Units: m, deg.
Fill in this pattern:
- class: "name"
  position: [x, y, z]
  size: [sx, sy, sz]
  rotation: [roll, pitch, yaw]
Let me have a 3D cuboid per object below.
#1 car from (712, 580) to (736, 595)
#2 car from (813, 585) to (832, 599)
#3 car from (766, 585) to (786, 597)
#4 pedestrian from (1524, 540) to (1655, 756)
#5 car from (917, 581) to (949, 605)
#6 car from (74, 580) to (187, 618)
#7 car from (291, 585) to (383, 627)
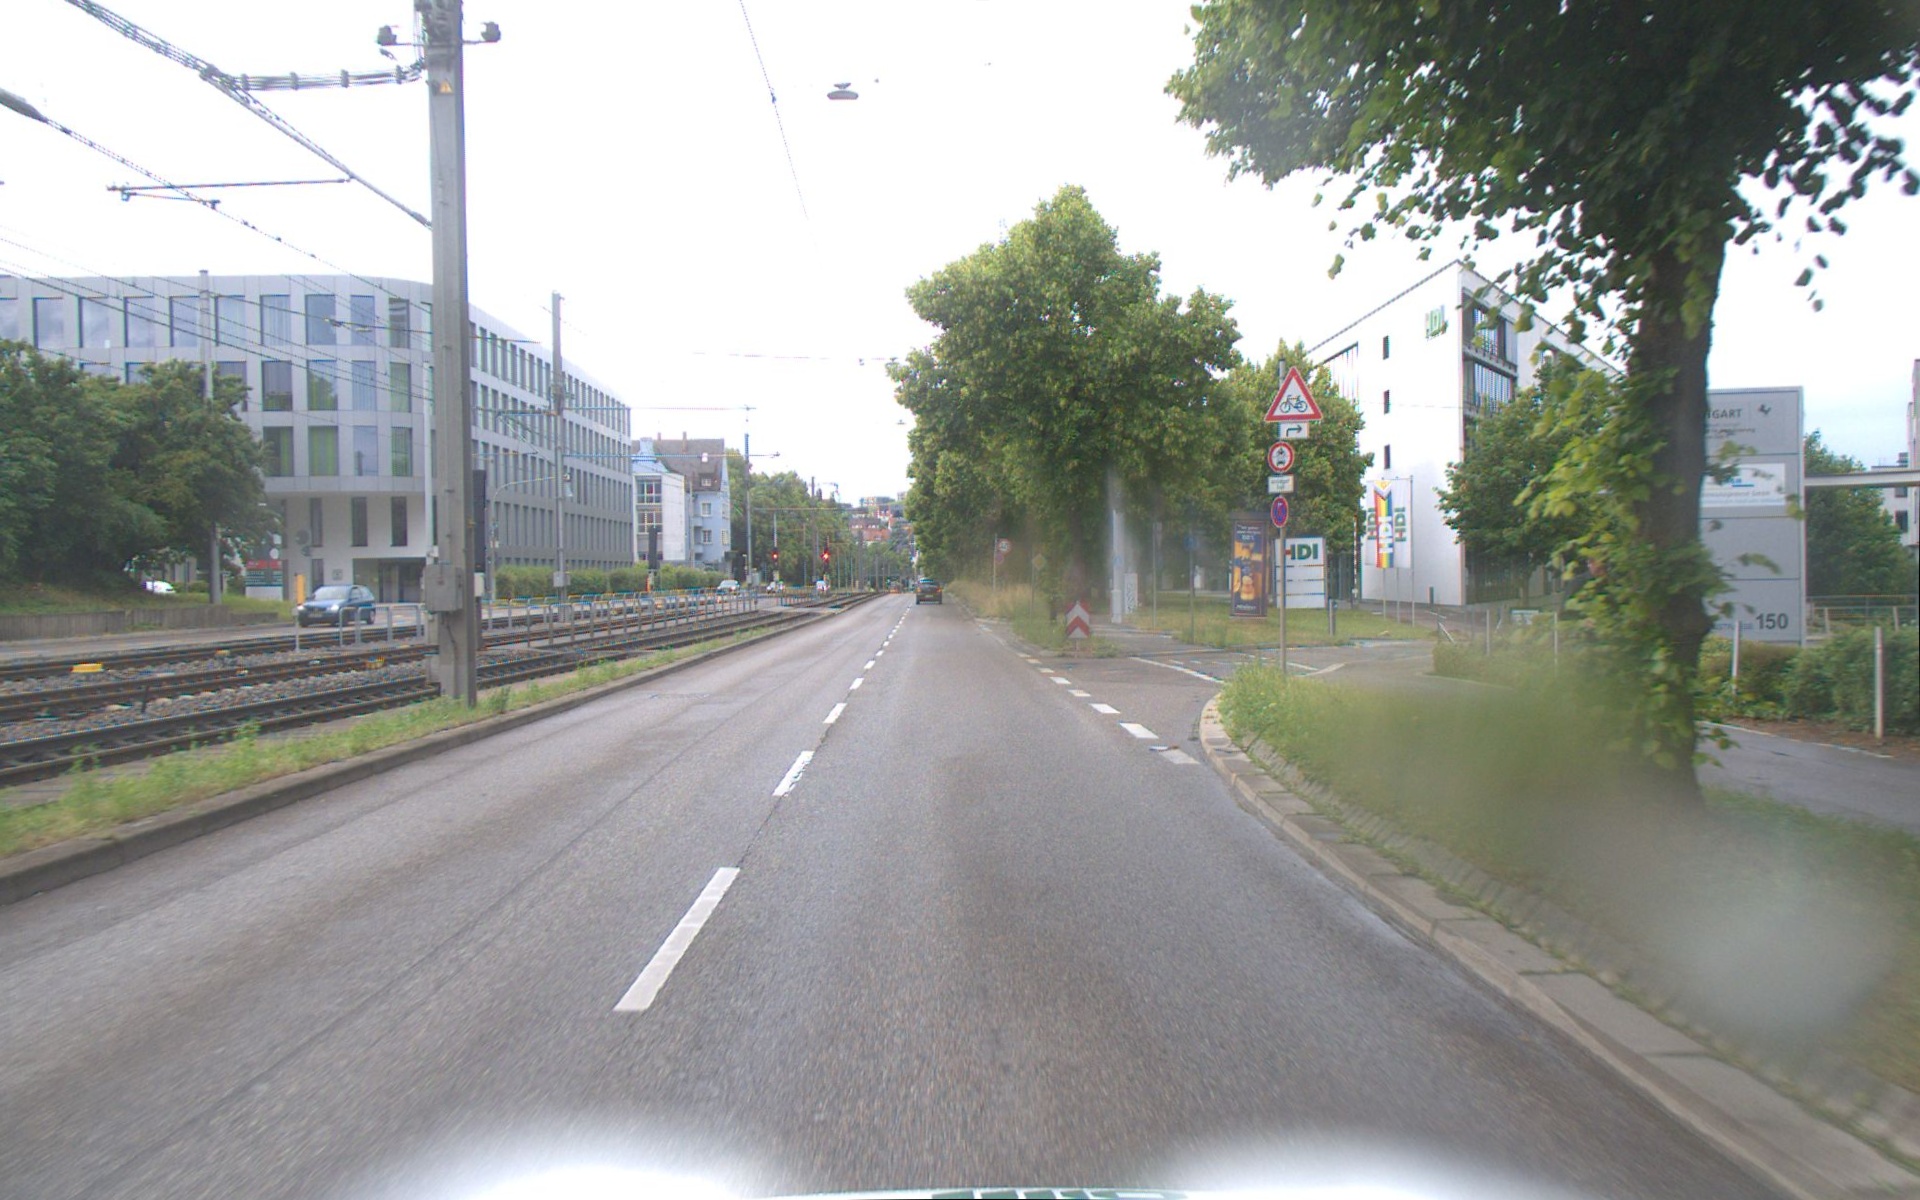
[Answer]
- class: "car"
  position: [-21.653, -1.145, 151.828]
  size: [1.720, 1.265, 3.987]
  rotation: [-1, 1, -1]
- class: "car"
  position: [-17.219, -1.046, 207.639]
  size: [1.863, 1.673, 4.884]
  rotation: [-1, 1, 0]
- class: "car"
  position: [-20.695, -1.026, 186.296]
  size: [1.761, 1.370, 4.259]
  rotation: [-1, 1, -1]
- class: "pedestrian"
  position: [5.509, 0.408, 14.517]
  size: [0.809, 1.828, 0.867]
  rotation: [0, 0, -1]
- class: "car"
  position: [-1.699, -0.445, 104.320]
  size: [1.942, 1.466, 4.473]
  rotation: [-1, 1, -1]
- class: "car"
  position: [-35.734, -0.056, 71.348]
  size: [3.841, 1.478, 1.925]
  rotation: [2, 0, -3]
- class: "car"
  position: [-22.305, 0.189, 59.375]
  size: [1.724, 1.422, 3.901]
  rotation: [-1, 1, 2]
